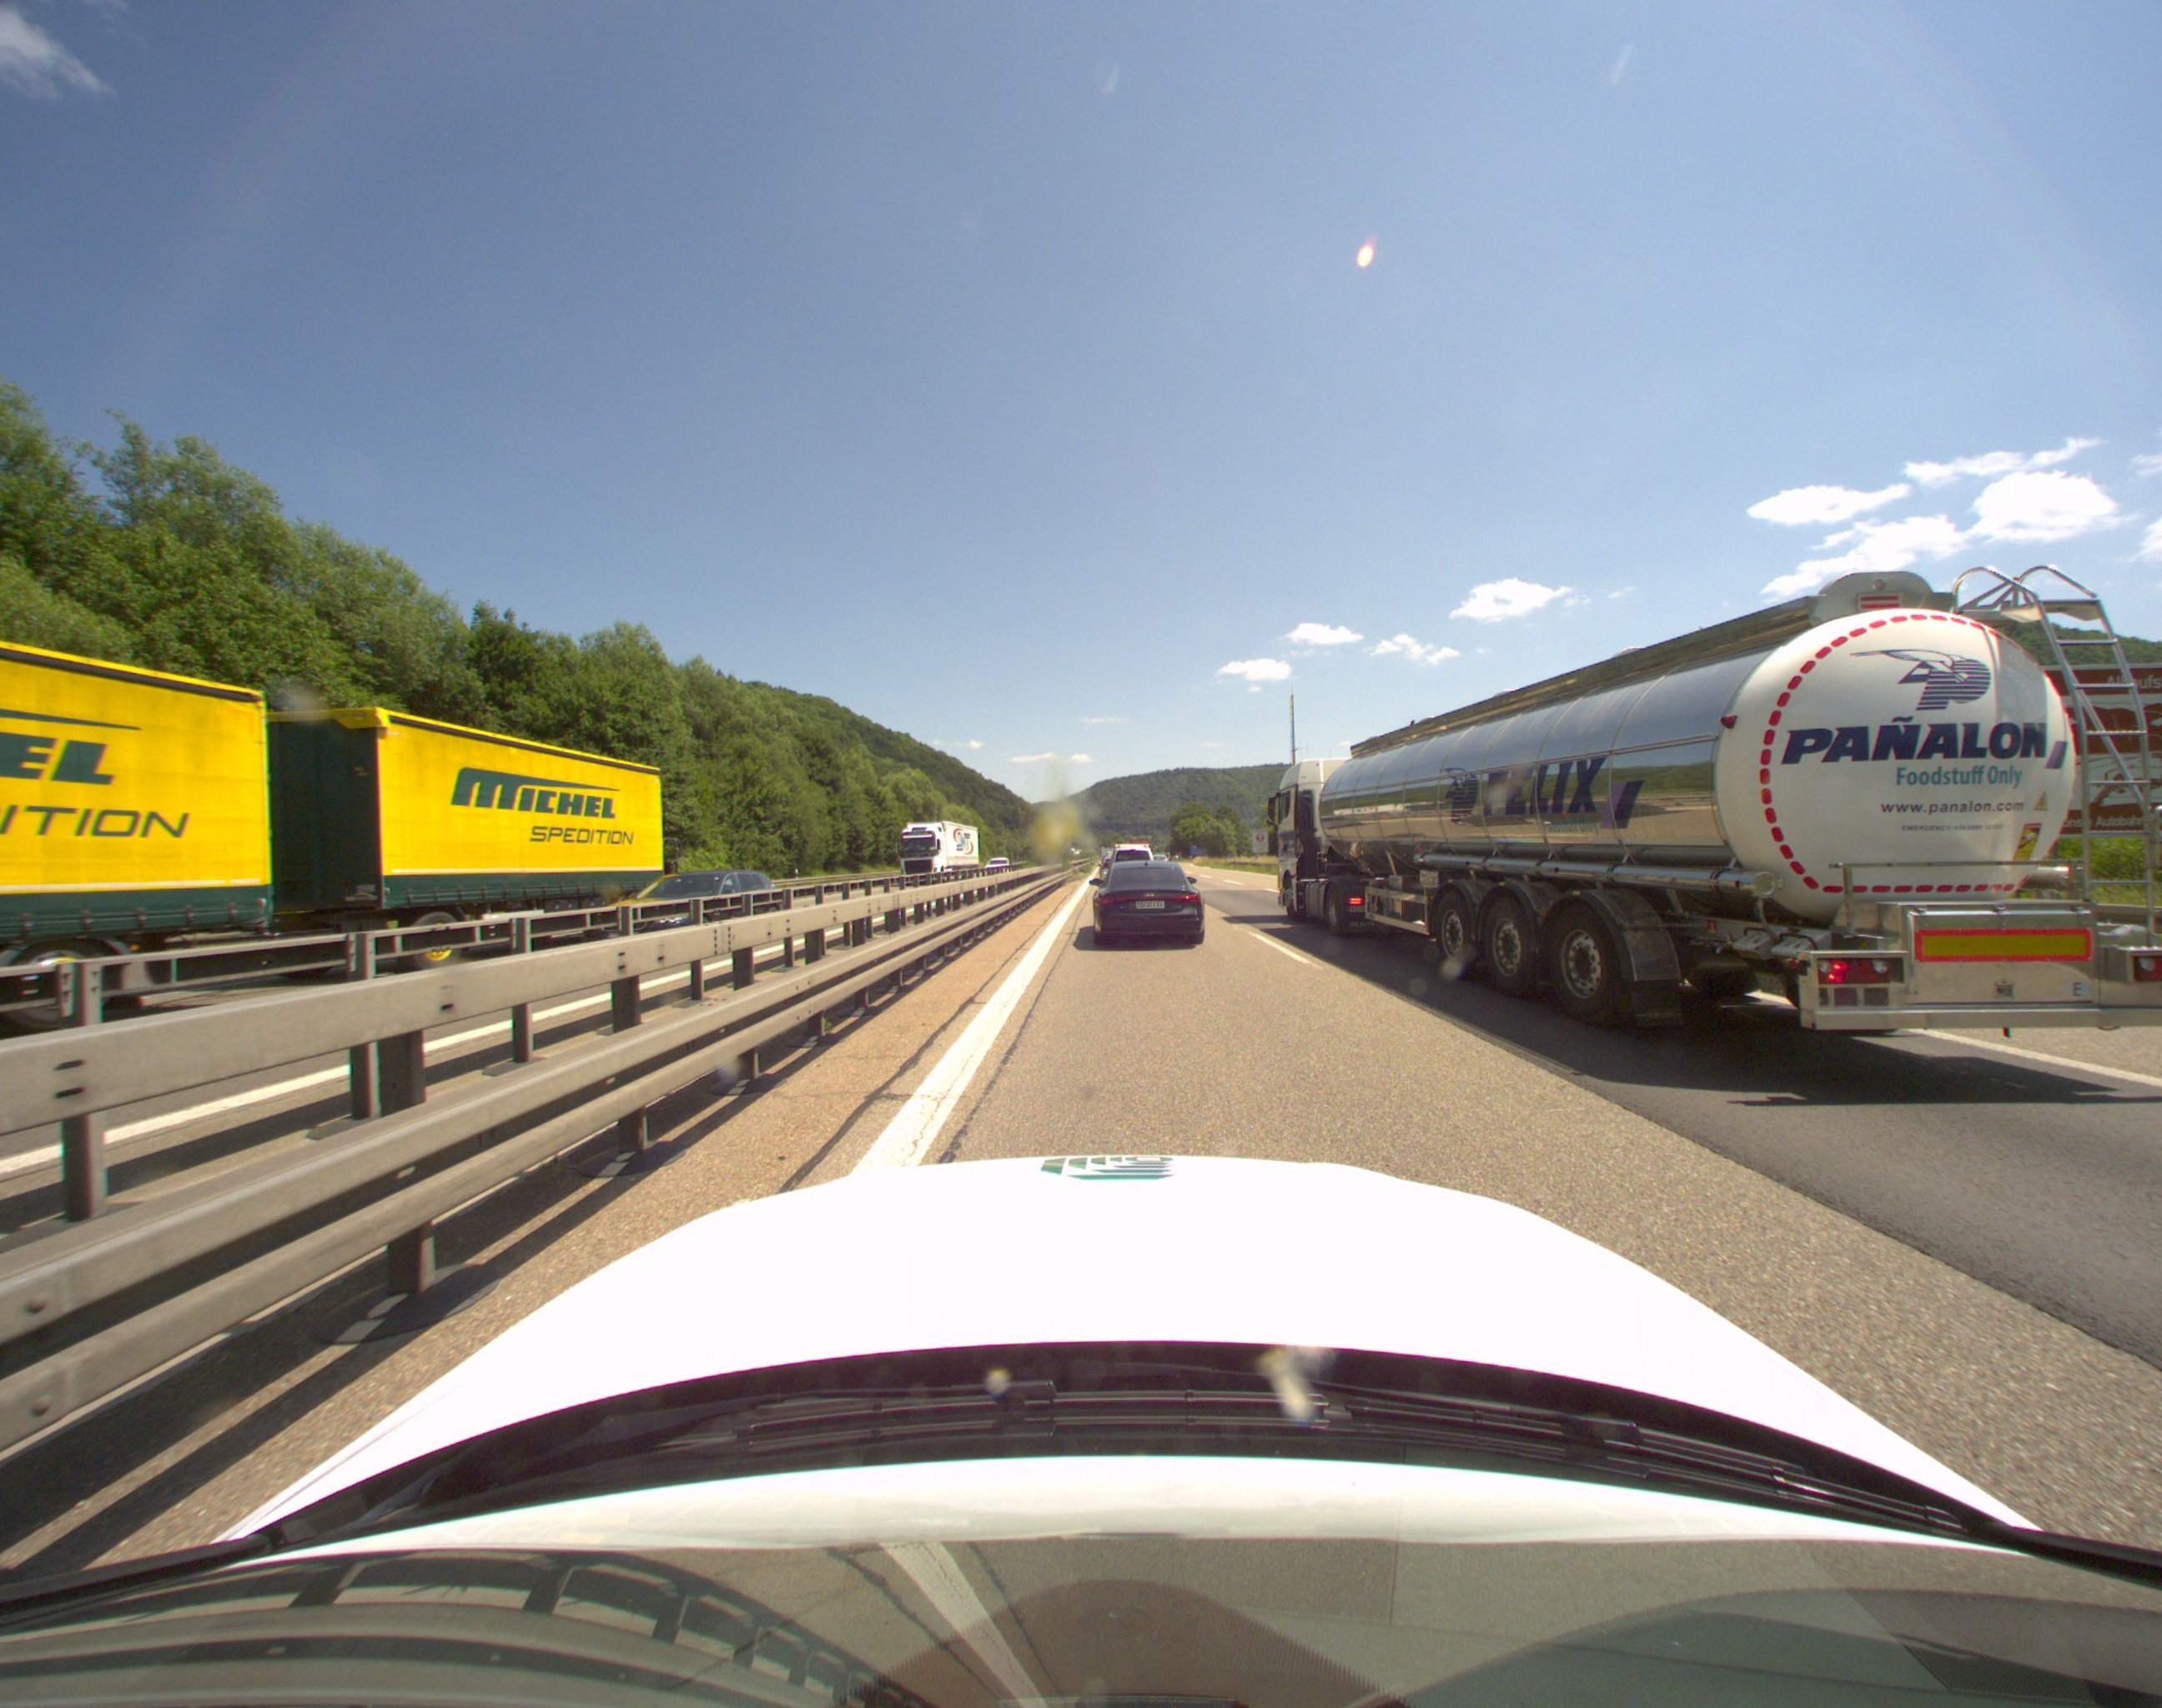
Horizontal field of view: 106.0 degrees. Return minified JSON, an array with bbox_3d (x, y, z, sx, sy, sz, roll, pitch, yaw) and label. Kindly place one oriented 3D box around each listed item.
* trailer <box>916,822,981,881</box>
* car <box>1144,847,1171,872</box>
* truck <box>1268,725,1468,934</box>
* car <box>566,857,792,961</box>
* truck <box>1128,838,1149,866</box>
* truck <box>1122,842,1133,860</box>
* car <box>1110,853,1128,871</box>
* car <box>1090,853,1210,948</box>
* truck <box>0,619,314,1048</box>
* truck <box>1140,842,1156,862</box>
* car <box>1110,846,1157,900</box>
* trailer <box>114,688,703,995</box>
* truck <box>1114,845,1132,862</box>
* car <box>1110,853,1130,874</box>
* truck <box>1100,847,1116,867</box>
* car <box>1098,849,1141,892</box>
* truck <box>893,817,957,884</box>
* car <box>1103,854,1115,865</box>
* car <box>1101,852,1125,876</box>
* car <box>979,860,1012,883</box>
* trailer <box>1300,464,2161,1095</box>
[{"bbox_3d":[-9.908,-0.153,62.245,2.846,4.076,11.266,0,0,1],"label":"trailer"},{"bbox_3d":[6.408,0.439,68.597,1.986,2.013,4.002,-1,0,2],"label":"car"},{"bbox_3d":[5.801,-0.431,17.378,2.502,3.758,5.246,0,0,1],"label":"truck"},{"bbox_3d":[-7.260,0.881,15.384,1.839,1.596,4.751,-1,0,0],"label":"car"},{"bbox_3d":[8.664,-0.184,124.080,2.806,4.003,14.964,0,0,3],"label":"truck"},{"bbox_3d":[9.048,-0.555,159.398,1.986,3.447,11.816,0,0,2],"label":"truck"},{"bbox_3d":[3.717,0.778,79.493,1.705,1.618,4.003,-1,0,3],"label":"car"},{"bbox_3d":[1.117,0.752,14.970,1.844,1.488,4.082,0,0,0],"label":"car"},{"bbox_3d":[-11.923,-0.204,6.183,2.816,4.147,9.619,0,0,2],"label":"truck"},{"bbox_3d":[14.223,-0.413,173.341,2.806,4.003,14.964,0,0,3],"label":"truck"},{"bbox_3d":[1.848,0.648,29.740,1.570,1.833,4.001,0,0,2],"label":"car"},{"bbox_3d":[-11.549,-0.143,16.262,2.816,4.147,10.410,0,0,2],"label":"trailer"},{"bbox_3d":[11.144,-0.121,213.350,3.774,4.414,14.982,-2,0,7],"label":"truck"},{"bbox_3d":[3.948,0.930,83.035,1.986,2.014,4.001,-1,0,1],"label":"car"},{"bbox_3d":[4.973,0.560,147.594,2.618,3.440,11.426,-1,0,2],"label":"truck"},{"bbox_3d":[1.848,0.780,39.831,1.986,2.014,4.001,0,0,2],"label":"car"},{"bbox_3d":[-10.164,-0.206,53.612,2.898,4.102,5.850,0,0,2],"label":"truck"},{"bbox_3d":[4.007,0.792,116.153,1.705,1.618,4.003,-1,0,3],"label":"car"},{"bbox_3d":[2.800,0.883,71.399,1.986,2.014,4.001,-1,0,1],"label":"car"},{"bbox_3d":[-5.855,1.195,56.181,1.740,1.518,4.002,0,0,2],"label":"car"},{"bbox_3d":[5.657,-0.414,10.775,2.529,3.735,11.894,0,0,1],"label":"trailer"}]
